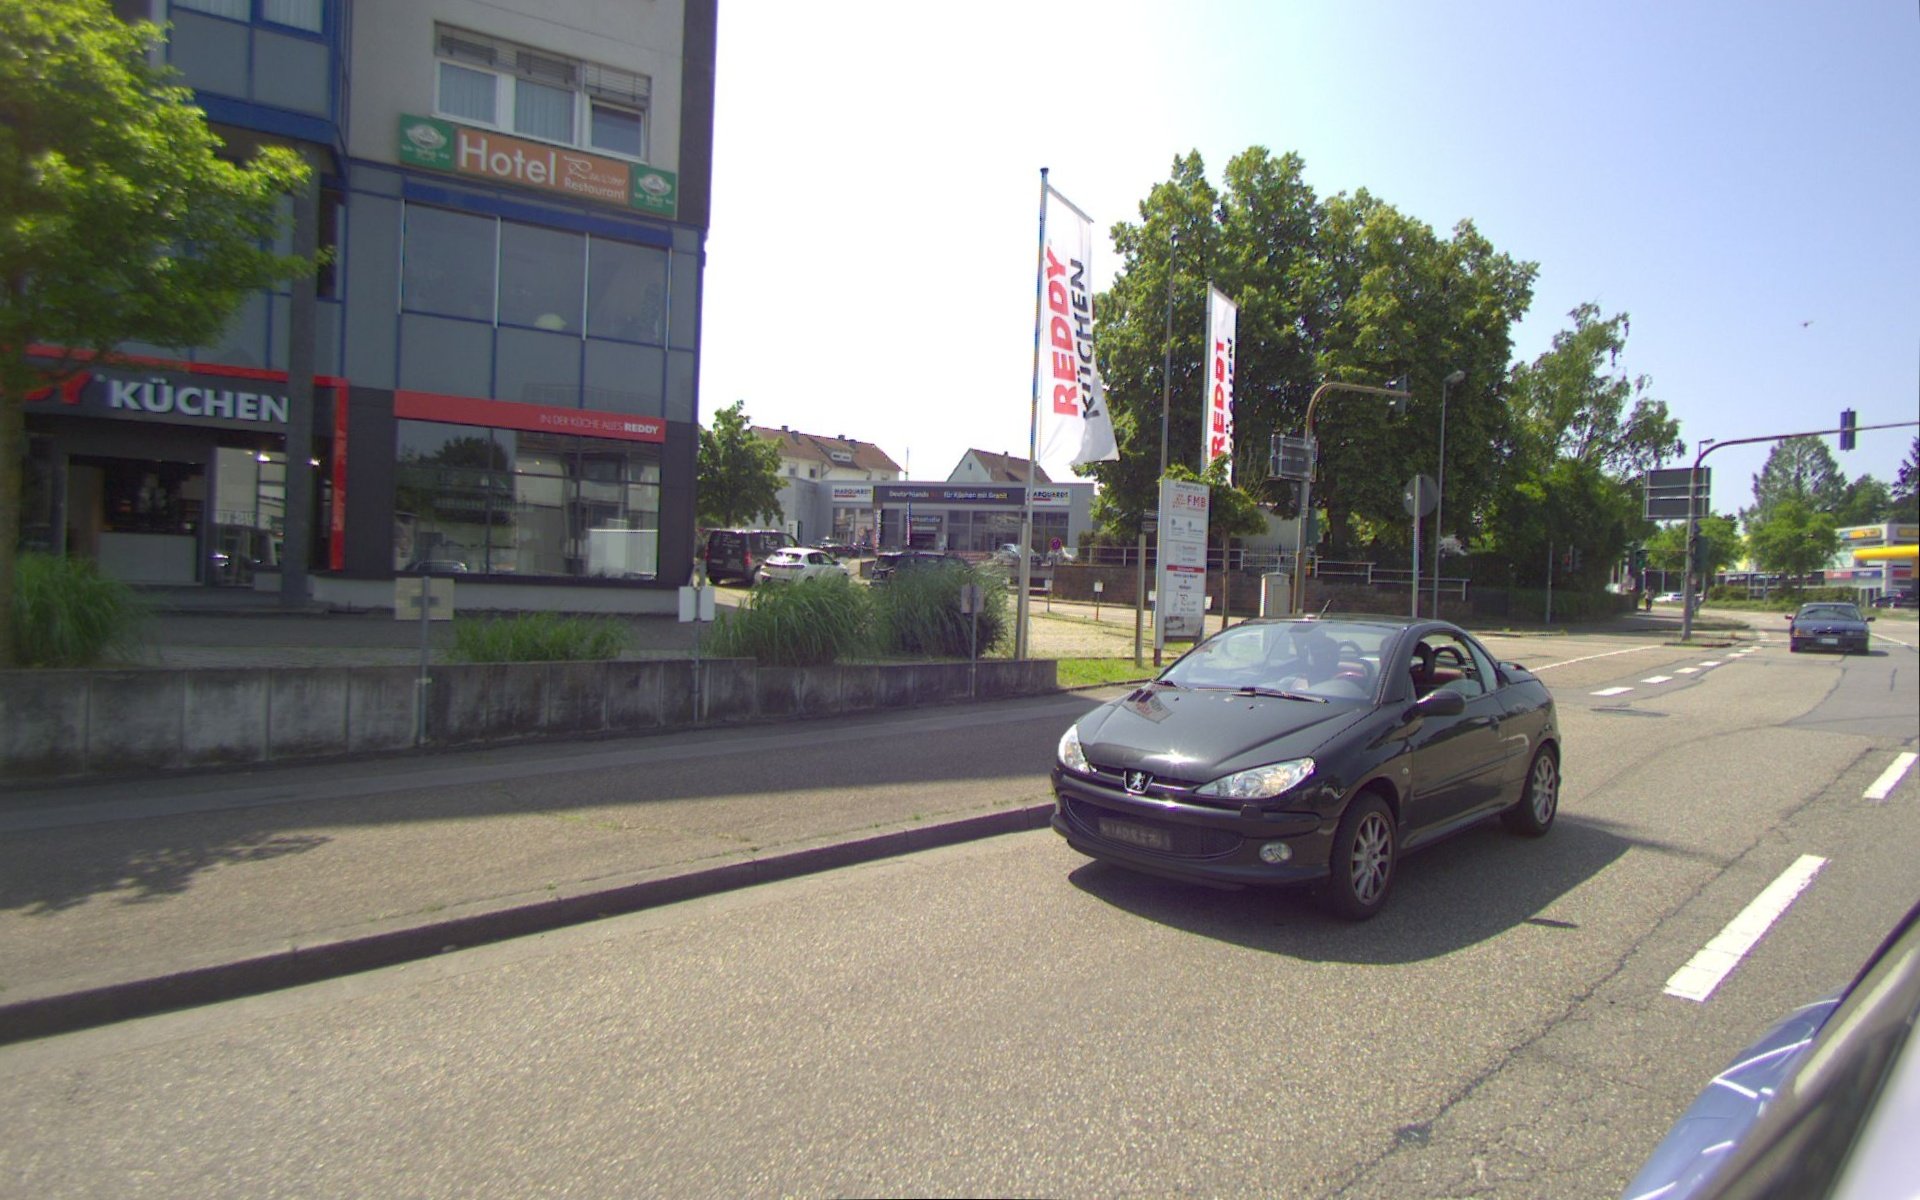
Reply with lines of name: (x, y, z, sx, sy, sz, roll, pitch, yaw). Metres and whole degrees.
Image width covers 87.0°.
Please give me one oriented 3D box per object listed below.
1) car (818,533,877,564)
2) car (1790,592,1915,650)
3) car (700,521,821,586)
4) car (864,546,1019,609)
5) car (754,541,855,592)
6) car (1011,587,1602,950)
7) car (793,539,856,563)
car: (-8.543, -3.923, 77.115, 3.941, 2.038, 1.992, 4, 2, 13)
car: (24.235, 0.522, 27.445, 3.925, 1.390, 1.699, -1, 2, -36)
car: (-6.990, -1.570, 36.116, 1.867, 2.063, 5.159, -1, 0, 19)
car: (-0.512, -0.630, 29.170, 4.242, 1.696, 1.546, 0, 1, -29)
car: (-5.104, -1.091, 33.783, 1.524, 1.552, 4.199, -1, 1, 19)
car: (2.149, 0.664, 5.815, 3.596, 1.443, 1.603, 0, 0, -40)
car: (-9.931, -3.576, 74.513, 4.115, 1.474, 1.992, 4, 2, 13)
